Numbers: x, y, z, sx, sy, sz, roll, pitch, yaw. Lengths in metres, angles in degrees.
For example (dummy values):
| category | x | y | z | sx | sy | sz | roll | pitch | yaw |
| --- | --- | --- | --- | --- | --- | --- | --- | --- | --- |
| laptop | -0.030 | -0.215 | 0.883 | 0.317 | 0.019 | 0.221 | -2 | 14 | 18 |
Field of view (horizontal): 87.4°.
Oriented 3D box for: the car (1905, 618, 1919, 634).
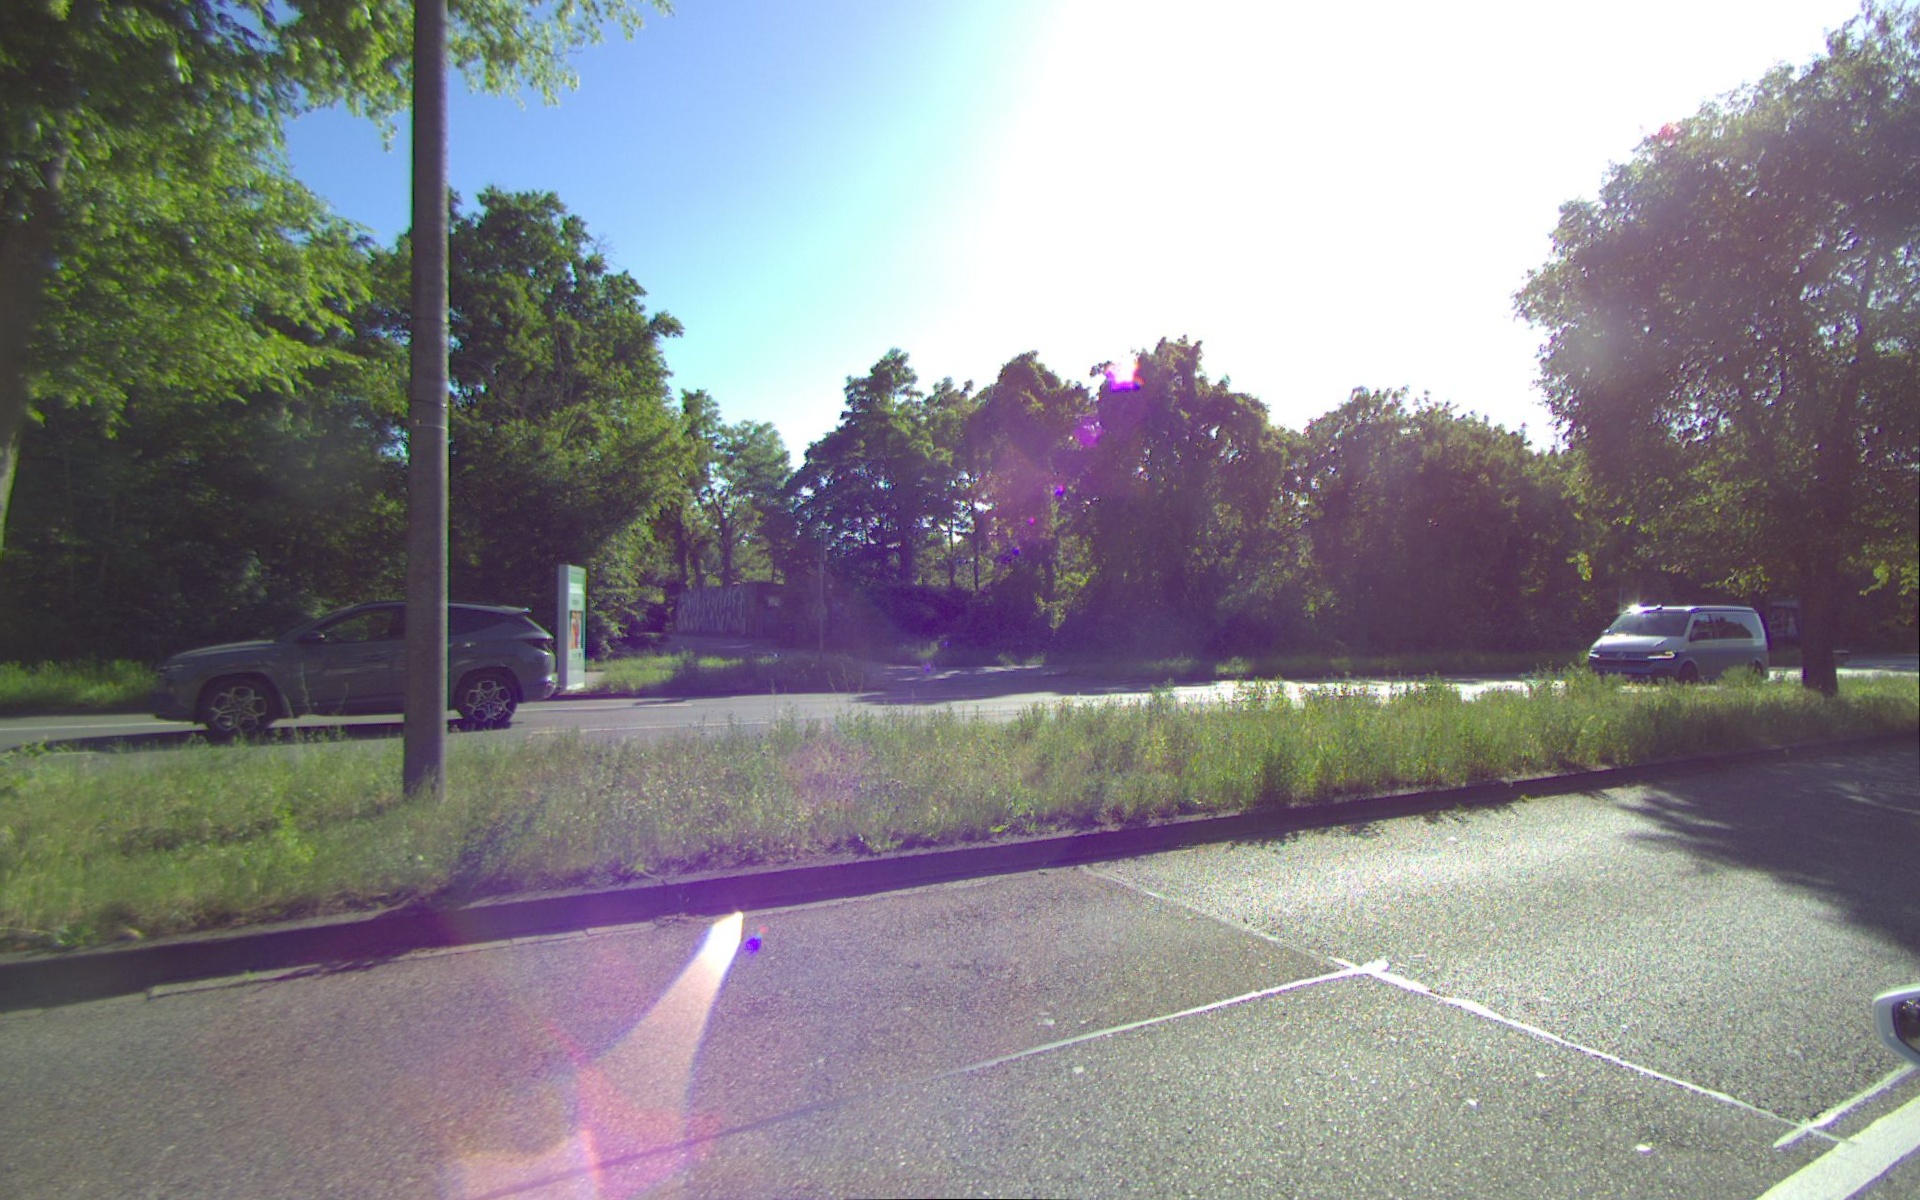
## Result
| category | x | y | z | sx | sy | sz | roll | pitch | yaw |
| --- | --- | --- | --- | --- | --- | --- | --- | --- | --- |
| car | 121.743 | 3.344 | 125.580 | 1.974 | 2.040 | 4.768 | 2 | 0 | -27 |

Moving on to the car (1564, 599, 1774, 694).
| category | x | y | z | sx | sy | sz | roll | pitch | yaw |
| --- | --- | --- | --- | --- | --- | --- | --- | --- | --- |
| car | 16.212 | 1.049 | 22.909 | 5.185 | 1.954 | 1.984 | 2 | -1 | -31 |

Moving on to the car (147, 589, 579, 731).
| category | x | y | z | sx | sy | sz | roll | pitch | yaw |
| --- | --- | --- | --- | --- | --- | --- | --- | --- | --- |
| car | -7.593 | 0.735 | 13.244 | 4.538 | 1.573 | 1.973 | 2 | 0 | -30 |
